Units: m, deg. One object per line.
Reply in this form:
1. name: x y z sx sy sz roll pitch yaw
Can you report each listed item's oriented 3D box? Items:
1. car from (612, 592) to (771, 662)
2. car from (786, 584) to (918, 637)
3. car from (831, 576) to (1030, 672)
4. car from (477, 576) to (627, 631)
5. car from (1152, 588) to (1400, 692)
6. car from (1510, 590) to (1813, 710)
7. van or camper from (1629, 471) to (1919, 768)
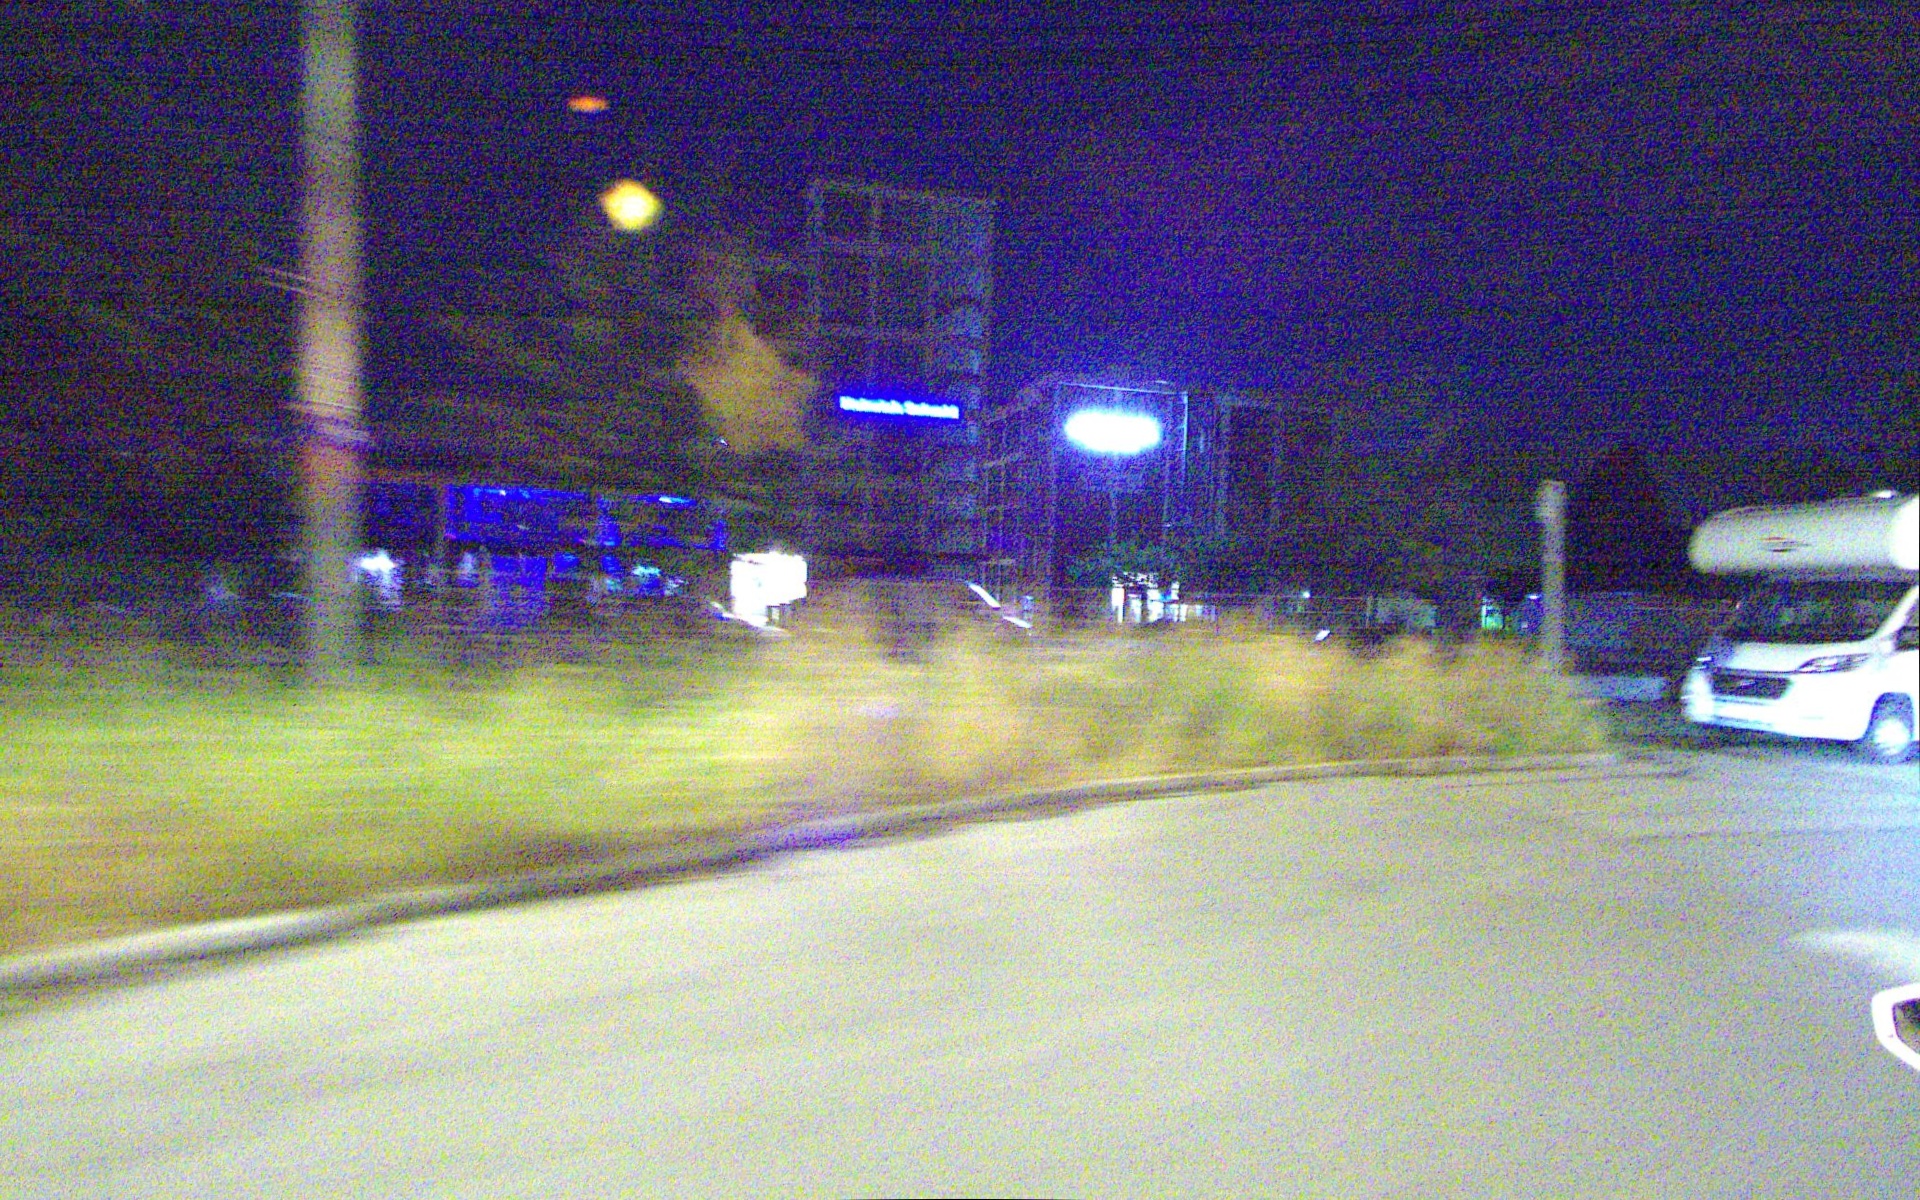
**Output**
1. car: -8.411 0.804 31.641 4.392 1.910 2.001 2 3 10
2. car: -4.683 0.436 43.166 5.441 2.053 2.490 1 3 -11
3. car: -0.861 0.676 30.782 5.758 2.589 2.001 2 3 10
4. car: -16.649 0.116 41.329 5.448 2.053 2.487 1 3 -16
5. car: 8.966 1.091 29.138 6.544 2.589 2.001 2 3 10
6. car: 19.285 1.307 27.955 6.544 2.880 2.001 2 3 10
7. van or camper: 12.584 0.318 12.717 7.319 3.135 2.520 2 0 -14
